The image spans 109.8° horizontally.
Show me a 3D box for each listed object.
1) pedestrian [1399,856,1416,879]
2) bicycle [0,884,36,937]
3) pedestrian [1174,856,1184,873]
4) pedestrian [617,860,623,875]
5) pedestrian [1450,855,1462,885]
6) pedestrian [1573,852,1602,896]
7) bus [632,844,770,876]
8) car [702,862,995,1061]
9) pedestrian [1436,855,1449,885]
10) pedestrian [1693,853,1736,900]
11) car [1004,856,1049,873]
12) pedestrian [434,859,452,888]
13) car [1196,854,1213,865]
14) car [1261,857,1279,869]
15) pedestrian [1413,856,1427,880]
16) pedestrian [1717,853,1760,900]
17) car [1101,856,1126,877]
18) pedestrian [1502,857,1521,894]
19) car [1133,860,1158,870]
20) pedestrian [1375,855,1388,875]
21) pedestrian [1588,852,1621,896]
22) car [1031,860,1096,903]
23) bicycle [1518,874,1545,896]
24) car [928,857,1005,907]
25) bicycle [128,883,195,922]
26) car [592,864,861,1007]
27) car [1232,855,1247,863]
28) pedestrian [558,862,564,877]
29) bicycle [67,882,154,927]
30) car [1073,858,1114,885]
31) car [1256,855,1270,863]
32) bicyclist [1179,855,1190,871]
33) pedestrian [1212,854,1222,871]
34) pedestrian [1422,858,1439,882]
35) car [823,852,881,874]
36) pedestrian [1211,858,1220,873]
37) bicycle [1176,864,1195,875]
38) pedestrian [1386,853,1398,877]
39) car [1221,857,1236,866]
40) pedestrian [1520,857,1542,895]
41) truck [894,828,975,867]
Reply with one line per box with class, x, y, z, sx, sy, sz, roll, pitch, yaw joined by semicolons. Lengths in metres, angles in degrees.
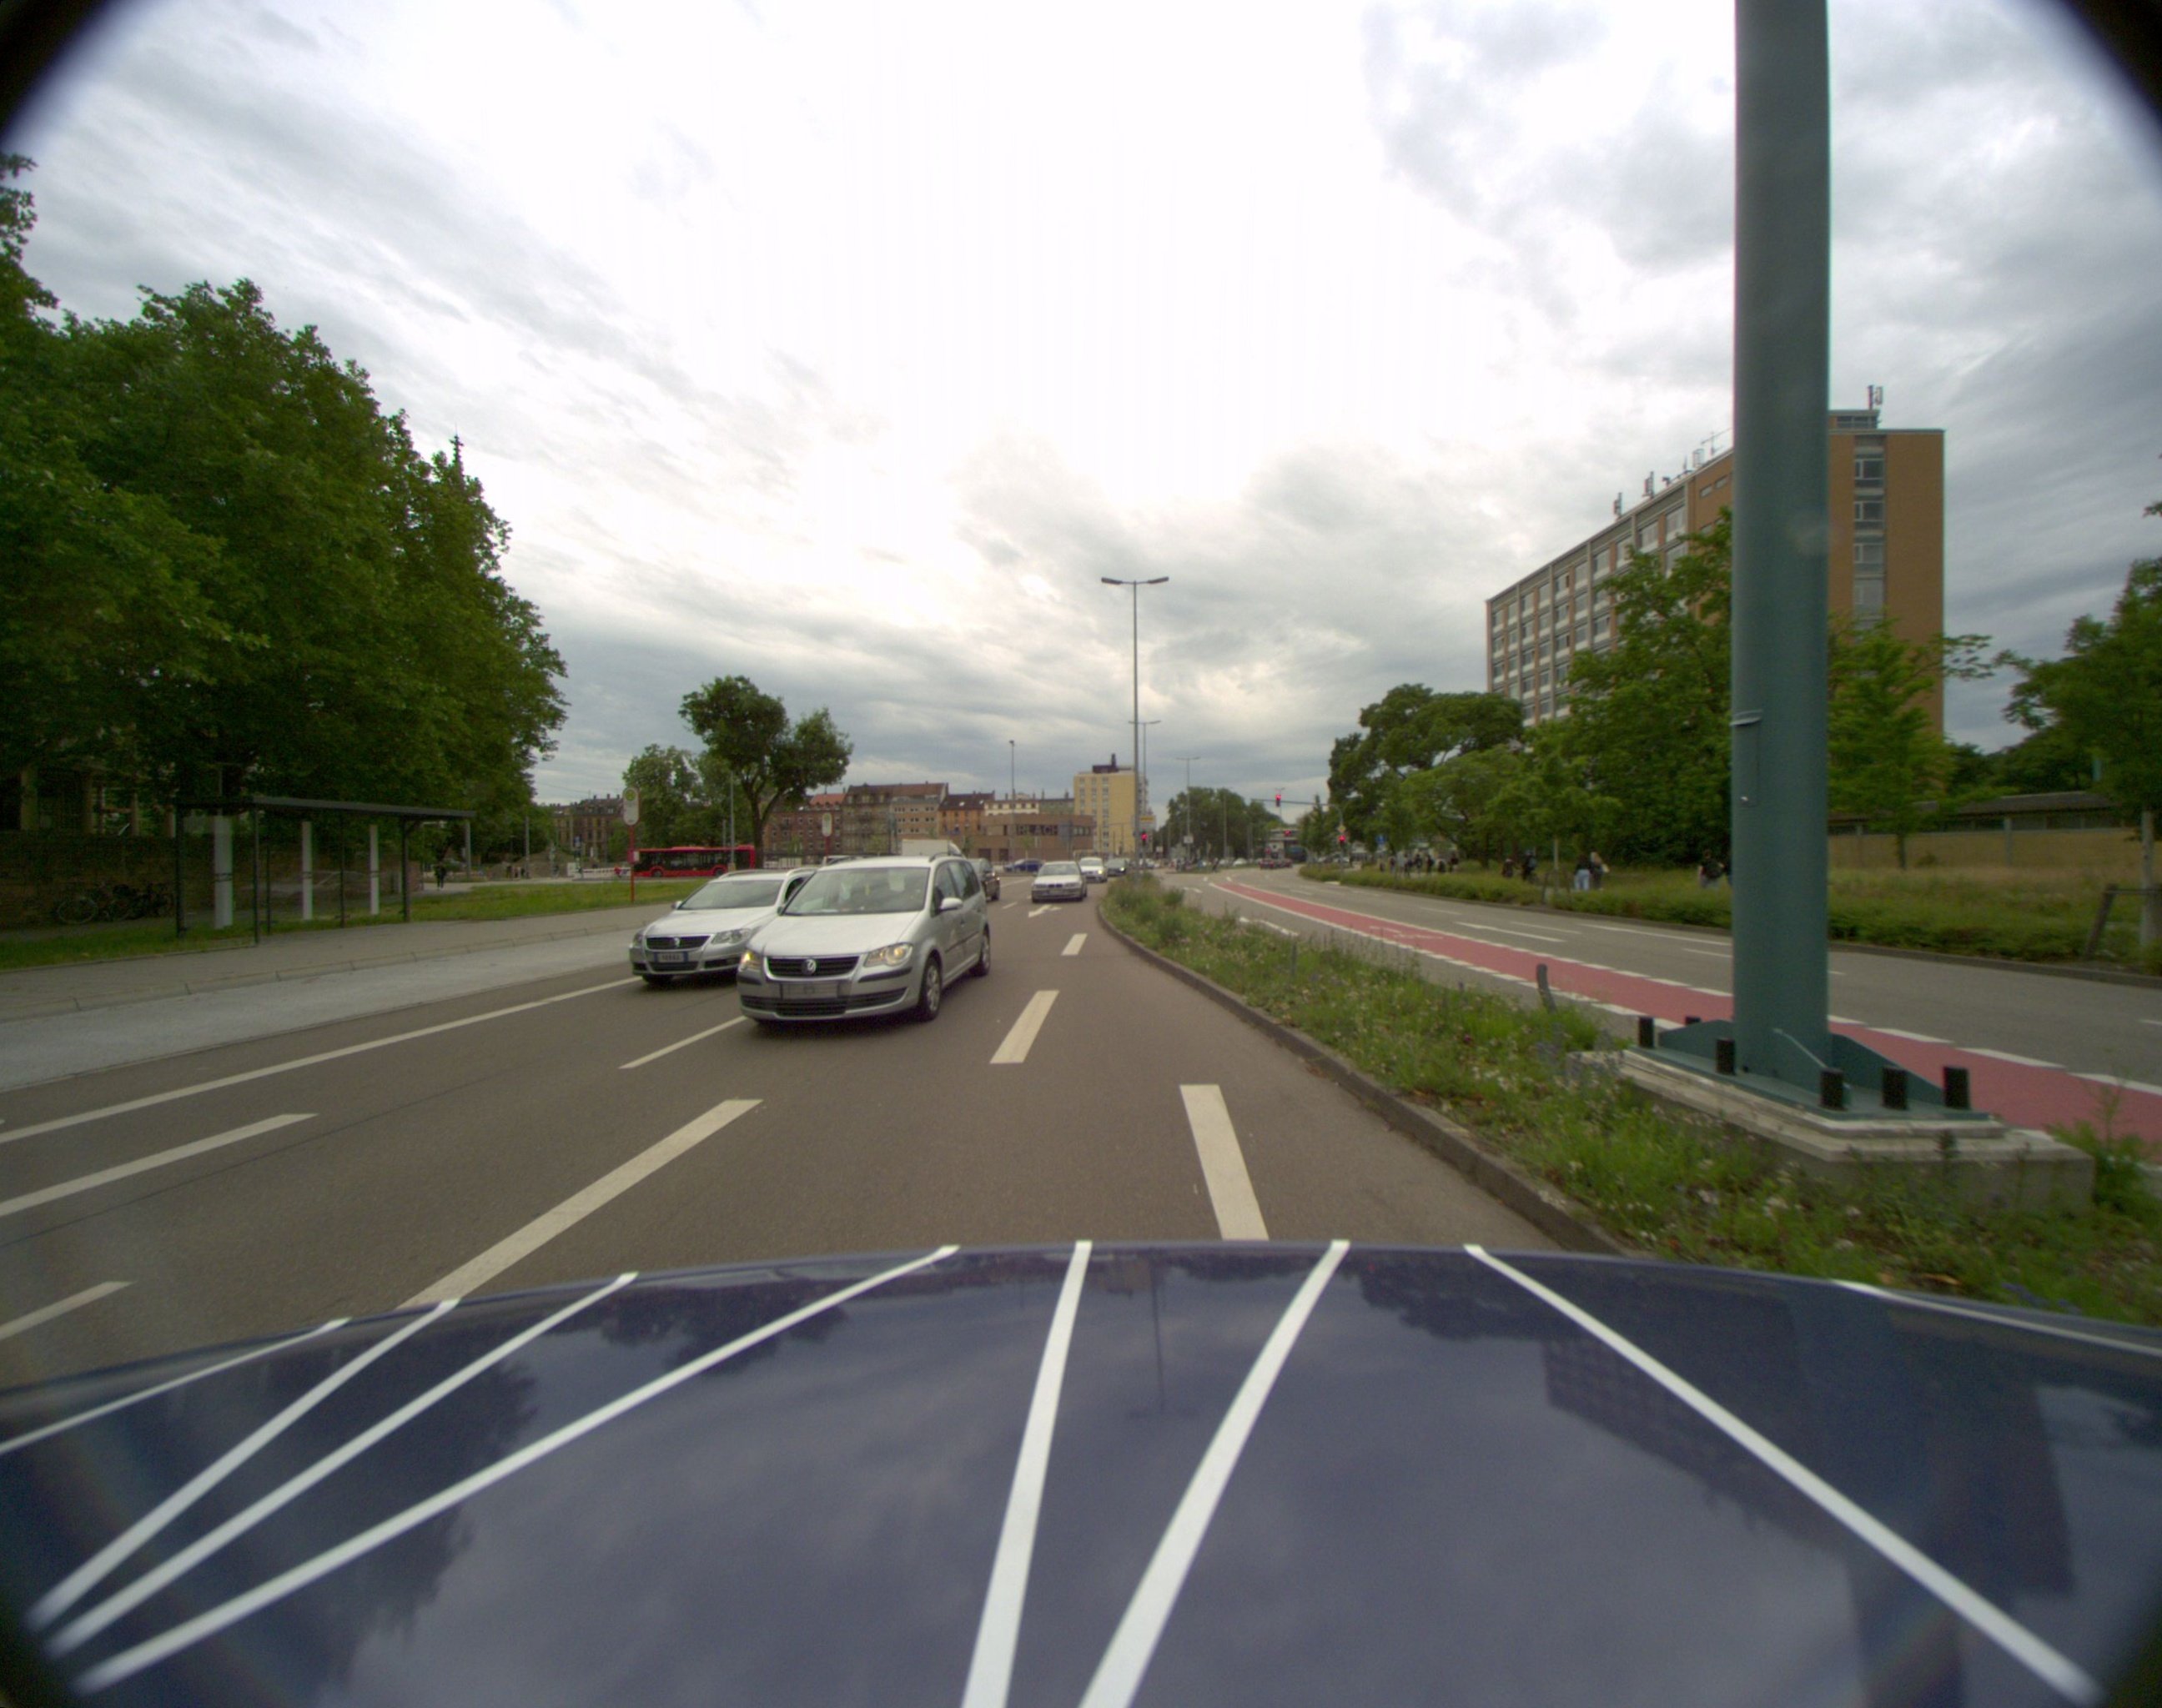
pedestrian;20.811;0.852;48.451;0.730;1.471;0.813;1;0;7
bicycle;-23.553;1.223;16.261;0.596;1.122;1.710;1;0;-23
pedestrian;10.691;1.163;82.994;0.917;1.794;0.541;1;0;19
pedestrian;-46.663;1.349;76.886;0.372;1.458;0.374;1;0;2
pedestrian;21.192;0.895;42.910;0.579;1.702;0.763;1;0;27
pedestrian;19.498;0.772;29.259;0.587;1.650;0.720;1;0;-3
bus;-37.359;0.564;74.946;12.088;2.890;2.938;-1;0;-1
car;-2.188;0.928;8.410;1.733;1.593;4.106;-1;0;3
pedestrian;20.393;0.913;42.863;0.622;1.685;0.748;1;0;28
pedestrian;18.441;0.647;22.127;0.646;1.350;0.711;1;0;2
car;-5.563;1.076;78.296;4.441;1.735;1.760;1;0;-39
pedestrian;-38.597;1.167;45.973;0.820;1.725;0.759;1;0;44
car;21.046;0.970;129.727;1.835;1.753;3.919;1;0;26
car;27.969;1.278;112.623;1.812;1.657;3.956;1;1;25
pedestrian;21.614;0.879;48.456;0.637;1.471;0.762;1;0;7
pedestrian;19.179;0.650;22.165;0.646;1.354;0.681;1;0;1
car;2.630;0.992;61.569;1.888;1.591;4.447;1;0;2
pedestrian;19.085;0.960;33.687;0.575;1.599;0.617;1;0;19
car;9.204;1.577;107.824;1.815;1.466;4.041;1;0;32
pedestrian;24.946;0.935;63.077;0.708;1.661;0.890;-2;0;7
pedestrian;20.172;0.772;29.301;0.708;1.662;0.767;1;0;-3
car;-0.544;0.930;27.485;1.725;1.405;4.248;-2;-1;6
bicycle;19.870;1.350;33.553;0.661;0.882;1.717;1;0;18
car;-4.036;0.946;27.596;1.911;1.615;4.491;-2;0;2
bicycle;-25.436;1.312;21.050;0.552;0.986;1.634;1;0;-25
car;-5.003;1.033;11.581;1.829;1.542;4.526;-2;1;1
car;31.415;1.027;150.420;1.801;1.586;3.767;1;0;28
pedestrian;-59.801;1.743;87.324;0.373;1.695;0.372;1;0;2
bicycle;-24.796;1.266;19.449;0.596;1.053;1.710;1;0;-23
car;0.749;0.980;44.133;1.784;1.454;3.874;-2;0;9
car;38.130;1.084;159.320;1.606;1.586;3.767;1;0;34
bicyclist;11.771;1.007;86.168;1.191;1.725;0.807;1;0;5
pedestrian;15.236;0.958;85.299;0.768;1.794;0.739;1;0;-19
pedestrian;23.765;1.056;51.663;0.635;1.603;0.829;-2;0;-18
car;-21.018;0.812;69.826;4.711;1.909;1.919;-1;3;0
pedestrian;14.674;1.277;82.945;0.777;1.657;0.707;1;0;-5
bicycle;11.860;1.743;86.173;2.004;1.136;0.807;1;0;5
pedestrian;24.171;0.859;59.044;0.638;1.790;0.762;-1;0;7
car;27.650;1.410;142.251;1.606;1.586;3.767;1;0;28
pedestrian;19.904;0.966;33.637;0.661;1.622;0.764;1;0;18
truck;-13.437;-0.656;70.115;6.850;3.392;2.560;-1;2;-2
